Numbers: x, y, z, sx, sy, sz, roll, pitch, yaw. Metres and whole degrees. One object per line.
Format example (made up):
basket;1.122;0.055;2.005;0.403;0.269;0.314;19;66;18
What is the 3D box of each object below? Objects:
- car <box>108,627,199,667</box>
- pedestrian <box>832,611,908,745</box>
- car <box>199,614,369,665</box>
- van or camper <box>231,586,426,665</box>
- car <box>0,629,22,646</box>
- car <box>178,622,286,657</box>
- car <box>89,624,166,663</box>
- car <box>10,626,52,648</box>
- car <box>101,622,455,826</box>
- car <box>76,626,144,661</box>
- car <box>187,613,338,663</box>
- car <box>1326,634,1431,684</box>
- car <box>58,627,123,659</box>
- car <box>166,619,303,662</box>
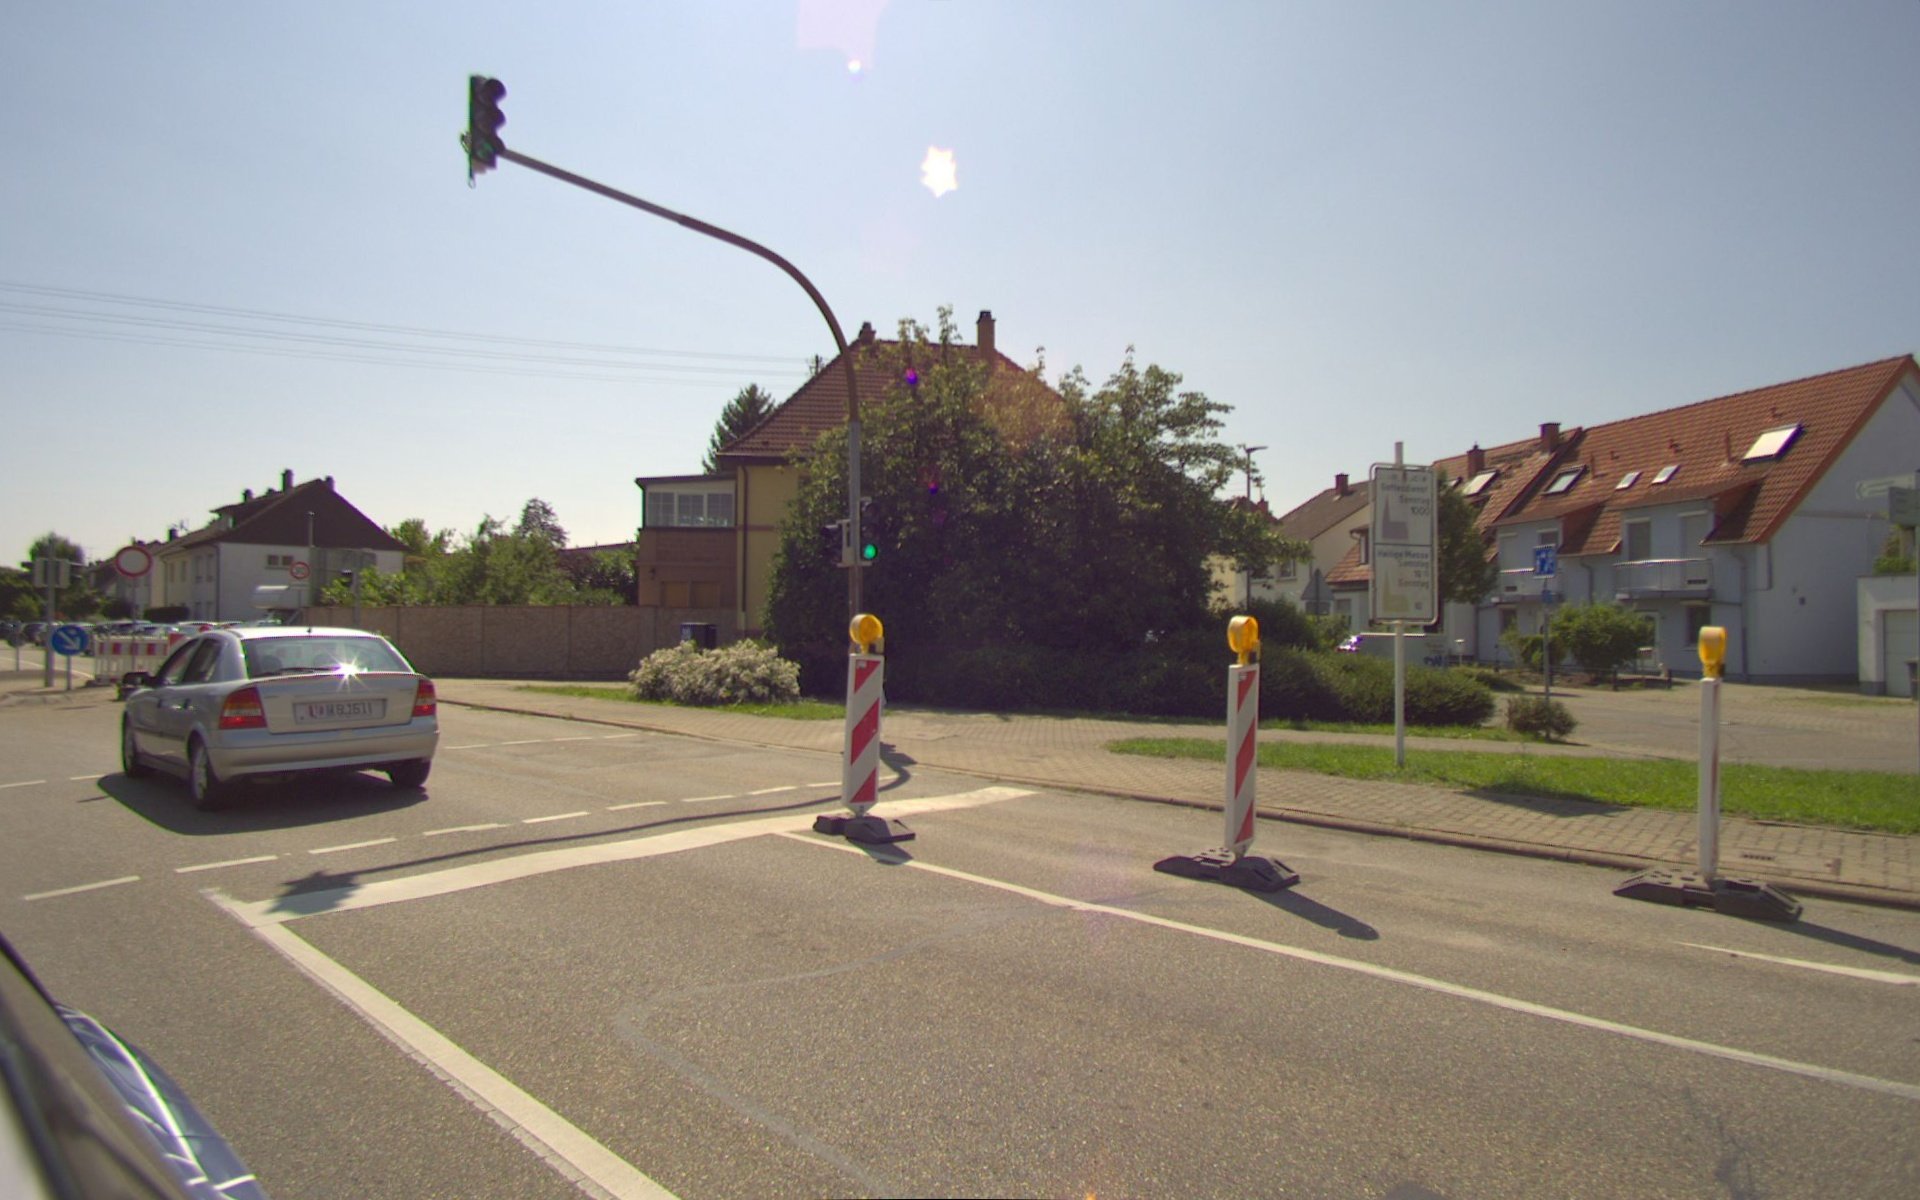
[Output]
car;-31.832;1.835;39.908;4.505;1.511;1.927;-1;-3;40
pedestrian;-1.143;0.965;12.846;0.688;1.620;0.607;-2;1;43
car;-28.998;1.661;43.638;2.127;2.017;5.714;-1;-2;35
van or camper;-24.762;1.011;39.992;2.284;2.866;6.192;-1;-2;33
car;-81.203;3.157;86.027;3.914;1.428;1.717;-1;-2;40
car;-35.666;1.923;49.652;1.765;1.628;3.951;-1;-2;36
car;-36.234;1.895;44.019;4.225;1.603;1.839;-1;-3;40
car;-66.738;2.670;72.695;3.914;1.525;1.717;-1;-2;40
car;-6.256;0.915;9.108;3.978;1.414;1.681;-1;-1;41
car;-39.998;2.039;47.588;4.176;1.559;1.838;-1;-4;42
car;-31.020;1.669;45.165;2.207;2.103;5.119;-1;-2;35
car;14.107;1.927;34.024;3.940;1.472;1.805;0;-1;-44
car;-45.177;2.218;52.561;4.542;1.559;1.839;-1;-3;40
car;-33.185;1.825;46.417;1.996;1.878;4.719;-1;-2;36
